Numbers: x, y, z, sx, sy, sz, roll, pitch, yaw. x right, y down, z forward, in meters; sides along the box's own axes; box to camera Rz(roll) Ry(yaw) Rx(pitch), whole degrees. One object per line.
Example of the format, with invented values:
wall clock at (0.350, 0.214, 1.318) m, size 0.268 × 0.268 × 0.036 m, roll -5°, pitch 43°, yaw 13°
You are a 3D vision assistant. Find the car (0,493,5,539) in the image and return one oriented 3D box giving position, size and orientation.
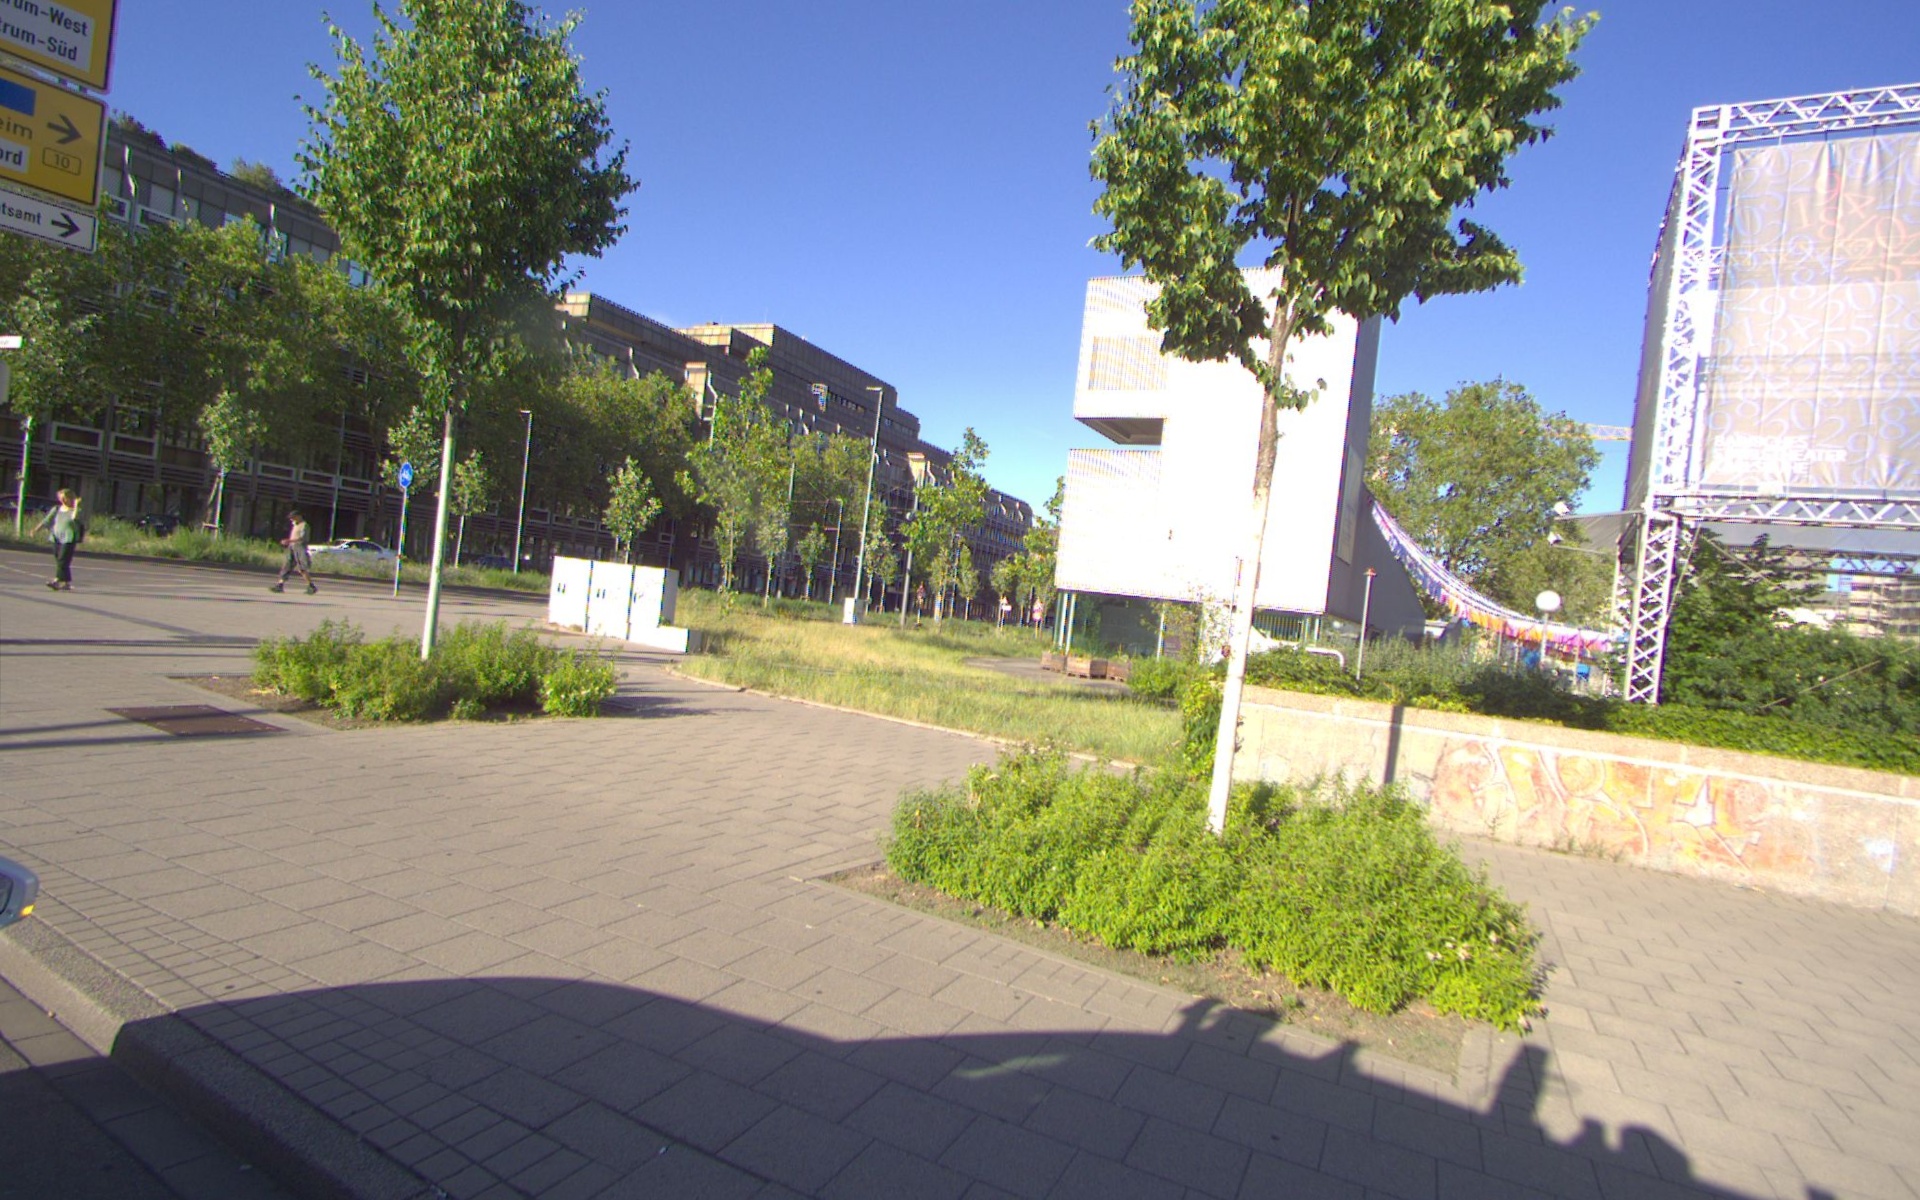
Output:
car at (-37.542, -3.358, 36.351) m, size 1.732 × 1.704 × 3.993 m, roll 7°, pitch -1°, yaw 30°

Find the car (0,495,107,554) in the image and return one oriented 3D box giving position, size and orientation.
car at (-33.239, -2.782, 35.544) m, size 1.792 × 1.704 × 4.302 m, roll 7°, pitch -1°, yaw 21°

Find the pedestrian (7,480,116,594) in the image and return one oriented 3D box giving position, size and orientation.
pedestrian at (-14.109, -0.971, 15.824) m, size 0.753 × 1.634 × 0.875 m, roll 7°, pitch 0°, yaw 8°

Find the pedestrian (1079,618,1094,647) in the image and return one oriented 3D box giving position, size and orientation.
pedestrian at (7.412, 1.904, 58.883) m, size 0.520 × 1.571 × 0.638 m, roll 7°, pitch -1°, yaw 31°

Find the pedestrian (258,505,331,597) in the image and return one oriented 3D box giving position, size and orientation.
pedestrian at (-13.657, -0.998, 20.652) m, size 0.755 × 1.728 × 0.873 m, roll 7°, pitch 1°, yaw 30°

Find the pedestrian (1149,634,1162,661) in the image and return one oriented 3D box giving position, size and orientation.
pedestrian at (11.957, 2.916, 61.517) m, size 0.521 × 1.571 × 0.436 m, roll 7°, pitch -1°, yaw 32°

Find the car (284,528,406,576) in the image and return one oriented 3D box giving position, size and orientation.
car at (-30.697, -2.361, 50.346) m, size 1.794 × 1.704 × 4.854 m, roll 7°, pitch -1°, yaw 28°

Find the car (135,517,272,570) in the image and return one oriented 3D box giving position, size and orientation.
car at (-33.627, -2.485, 44.856) m, size 1.794 × 1.704 × 4.412 m, roll 7°, pitch -1°, yaw 29°
